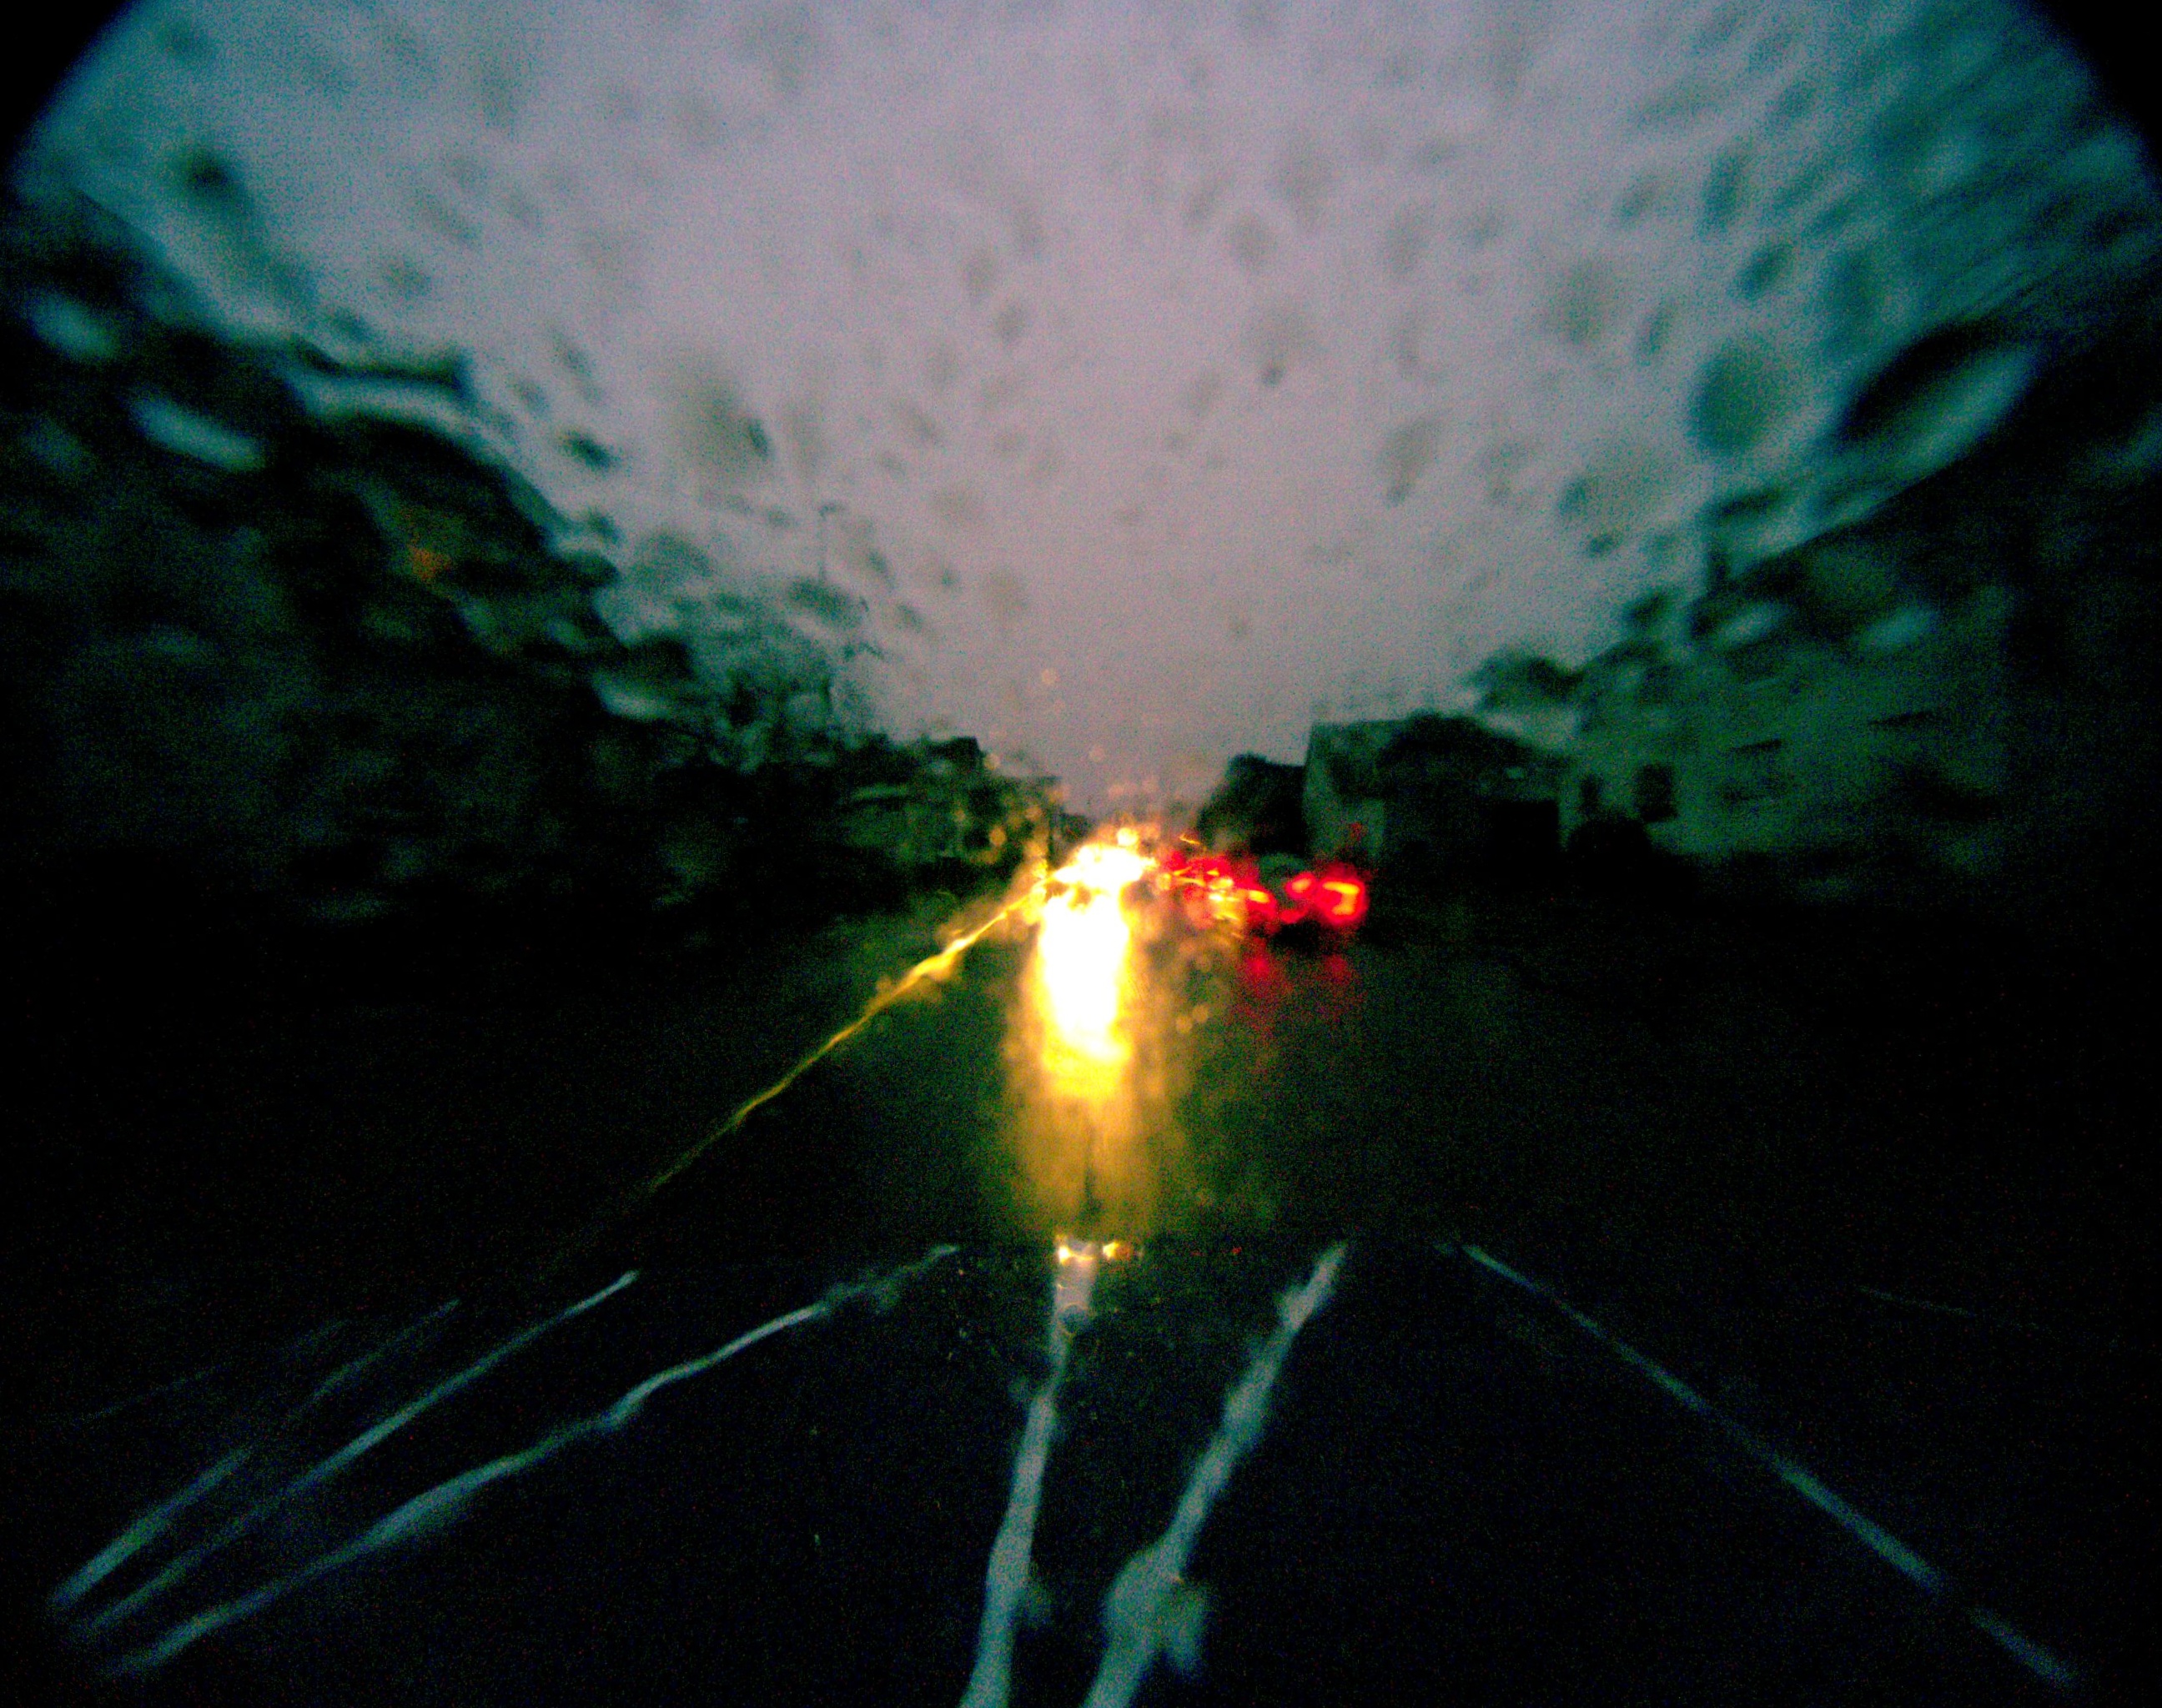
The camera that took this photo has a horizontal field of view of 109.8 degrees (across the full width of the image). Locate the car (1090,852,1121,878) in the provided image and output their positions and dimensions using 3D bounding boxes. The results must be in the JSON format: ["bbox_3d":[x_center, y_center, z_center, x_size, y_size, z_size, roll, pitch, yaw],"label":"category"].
[{"bbox_3d":[1.712,0.741,52.256,1.998,1.660,4.000,-1,0,2],"label":"car"}]

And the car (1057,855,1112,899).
[{"bbox_3d":[0.138,0.850,29.787,1.998,1.575,4.000,0,0,1],"label":"car"}]

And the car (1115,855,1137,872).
[{"bbox_3d":[4.599,0.969,77.243,1.774,1.608,3.874,-2,1,8],"label":"car"}]

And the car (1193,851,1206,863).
[{"bbox_3d":[18.760,0.463,120.321,1.966,1.688,4.003,-2,1,10],"label":"car"}]

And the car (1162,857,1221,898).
[{"bbox_3d":[4.168,0.843,29.192,1.708,1.433,4.000,1,0,1],"label":"car"}]

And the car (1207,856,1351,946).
[{"bbox_3d":[3.670,0.791,14.891,1.708,1.433,4.424,-1,0,1],"label":"car"}]
